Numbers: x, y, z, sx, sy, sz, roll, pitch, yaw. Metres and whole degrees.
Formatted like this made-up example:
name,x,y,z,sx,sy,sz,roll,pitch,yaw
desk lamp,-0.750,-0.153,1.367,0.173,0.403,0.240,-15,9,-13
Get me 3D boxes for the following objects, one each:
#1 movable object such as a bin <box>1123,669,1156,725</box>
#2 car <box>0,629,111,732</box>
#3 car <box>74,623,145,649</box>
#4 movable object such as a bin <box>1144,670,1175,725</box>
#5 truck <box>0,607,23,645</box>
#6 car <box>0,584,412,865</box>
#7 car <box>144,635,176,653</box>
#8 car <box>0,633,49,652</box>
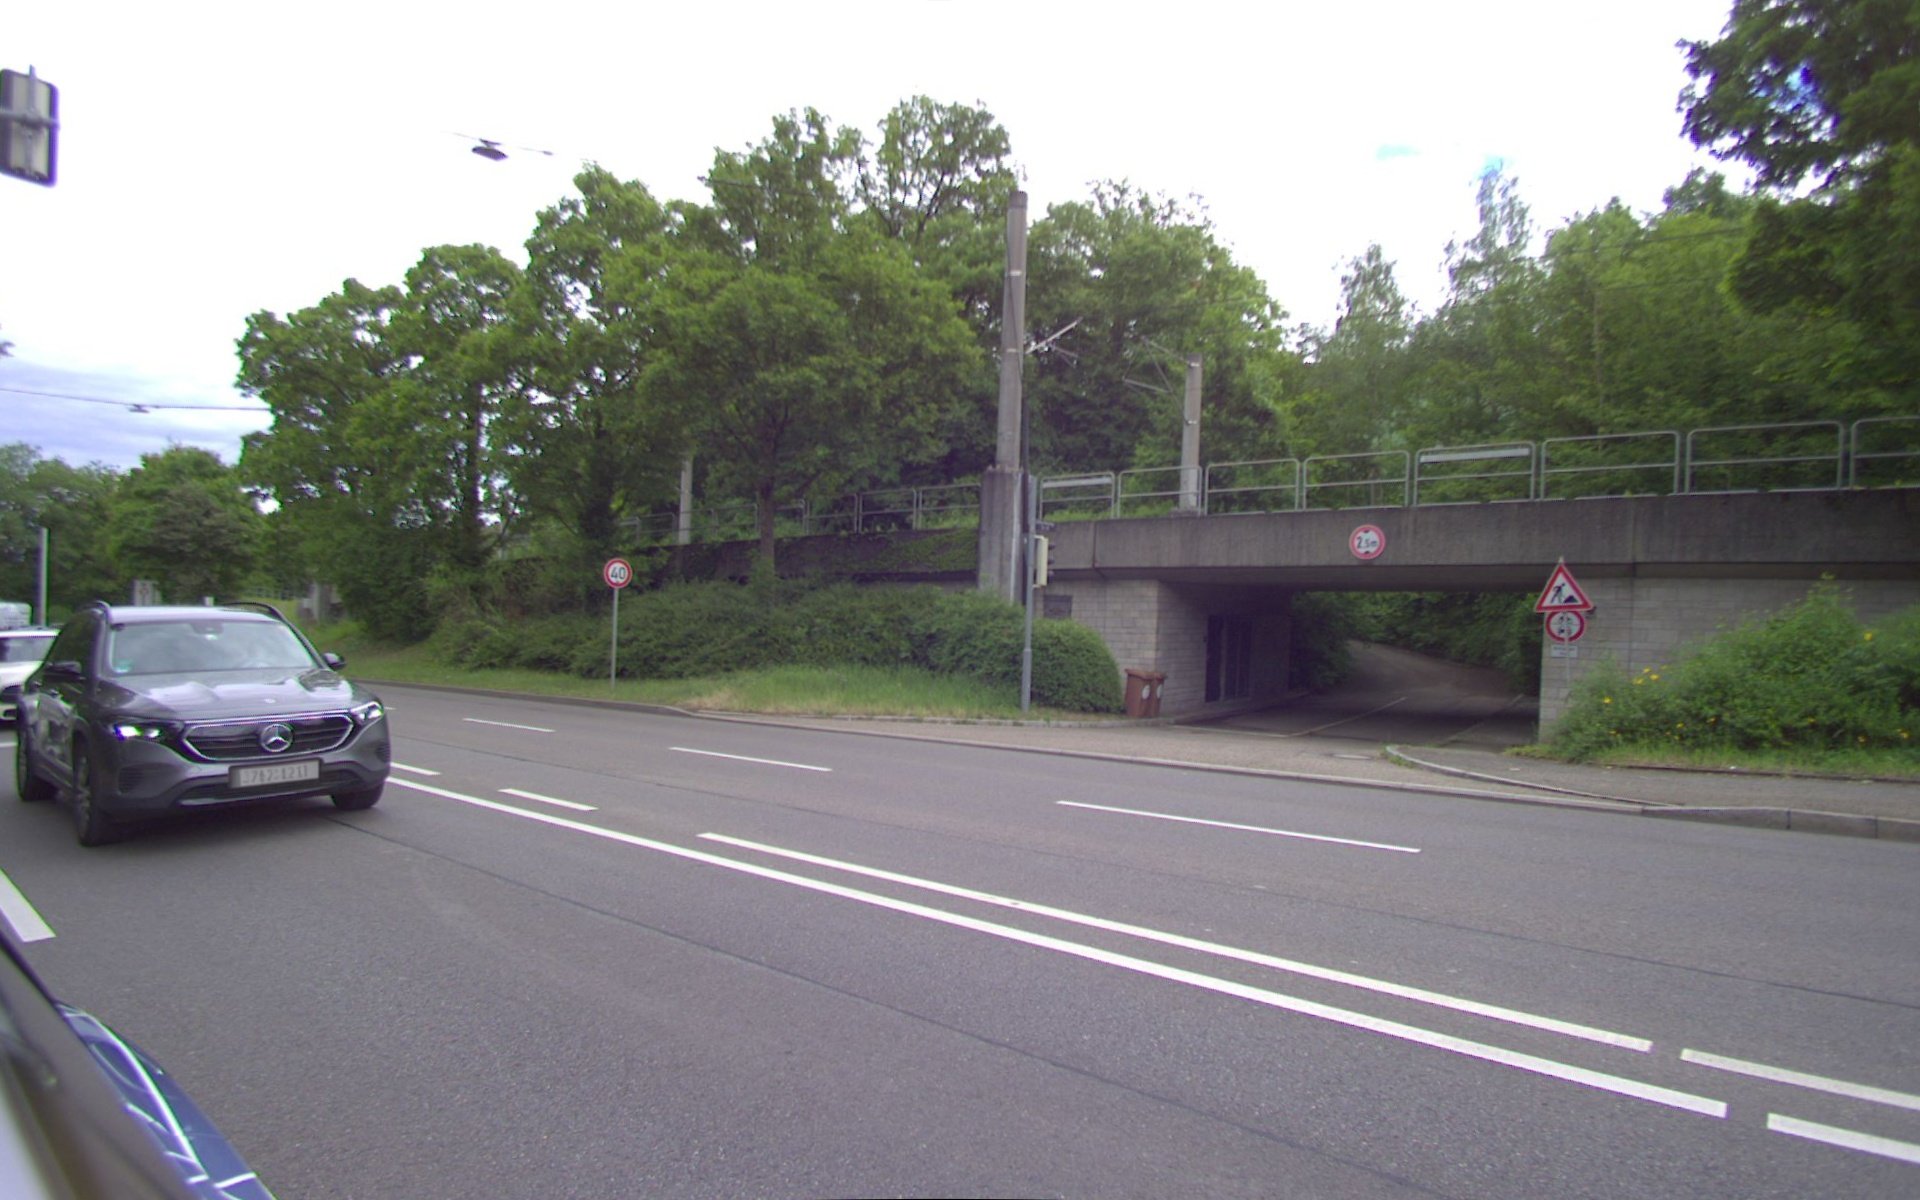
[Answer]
name,x,y,z,sx,sy,sz,roll,pitch,yaw
movable object such as a bin,3.539,1.908,19.968,0.503,1.071,0.414,-1,-3,36
car,-14.599,1.173,15.665,3.731,1.435,1.666,-2,-2,41
car,-76.530,3.221,91.171,2.248,2.217,6.475,0,-1,-14
movable object such as a bin,4.037,1.962,20.504,0.503,1.071,0.414,-1,-3,36
truck,-80.936,2.107,83.748,2.164,3.180,6.670,2,-3,-17
car,-6.227,0.793,8.141,4.356,1.664,1.830,-2,-2,42
car,-83.533,4.576,105.683,1.748,1.814,4.013,2,-3,-26
car,-77.538,3.552,83.817,1.736,1.452,3.904,2,-4,-21
